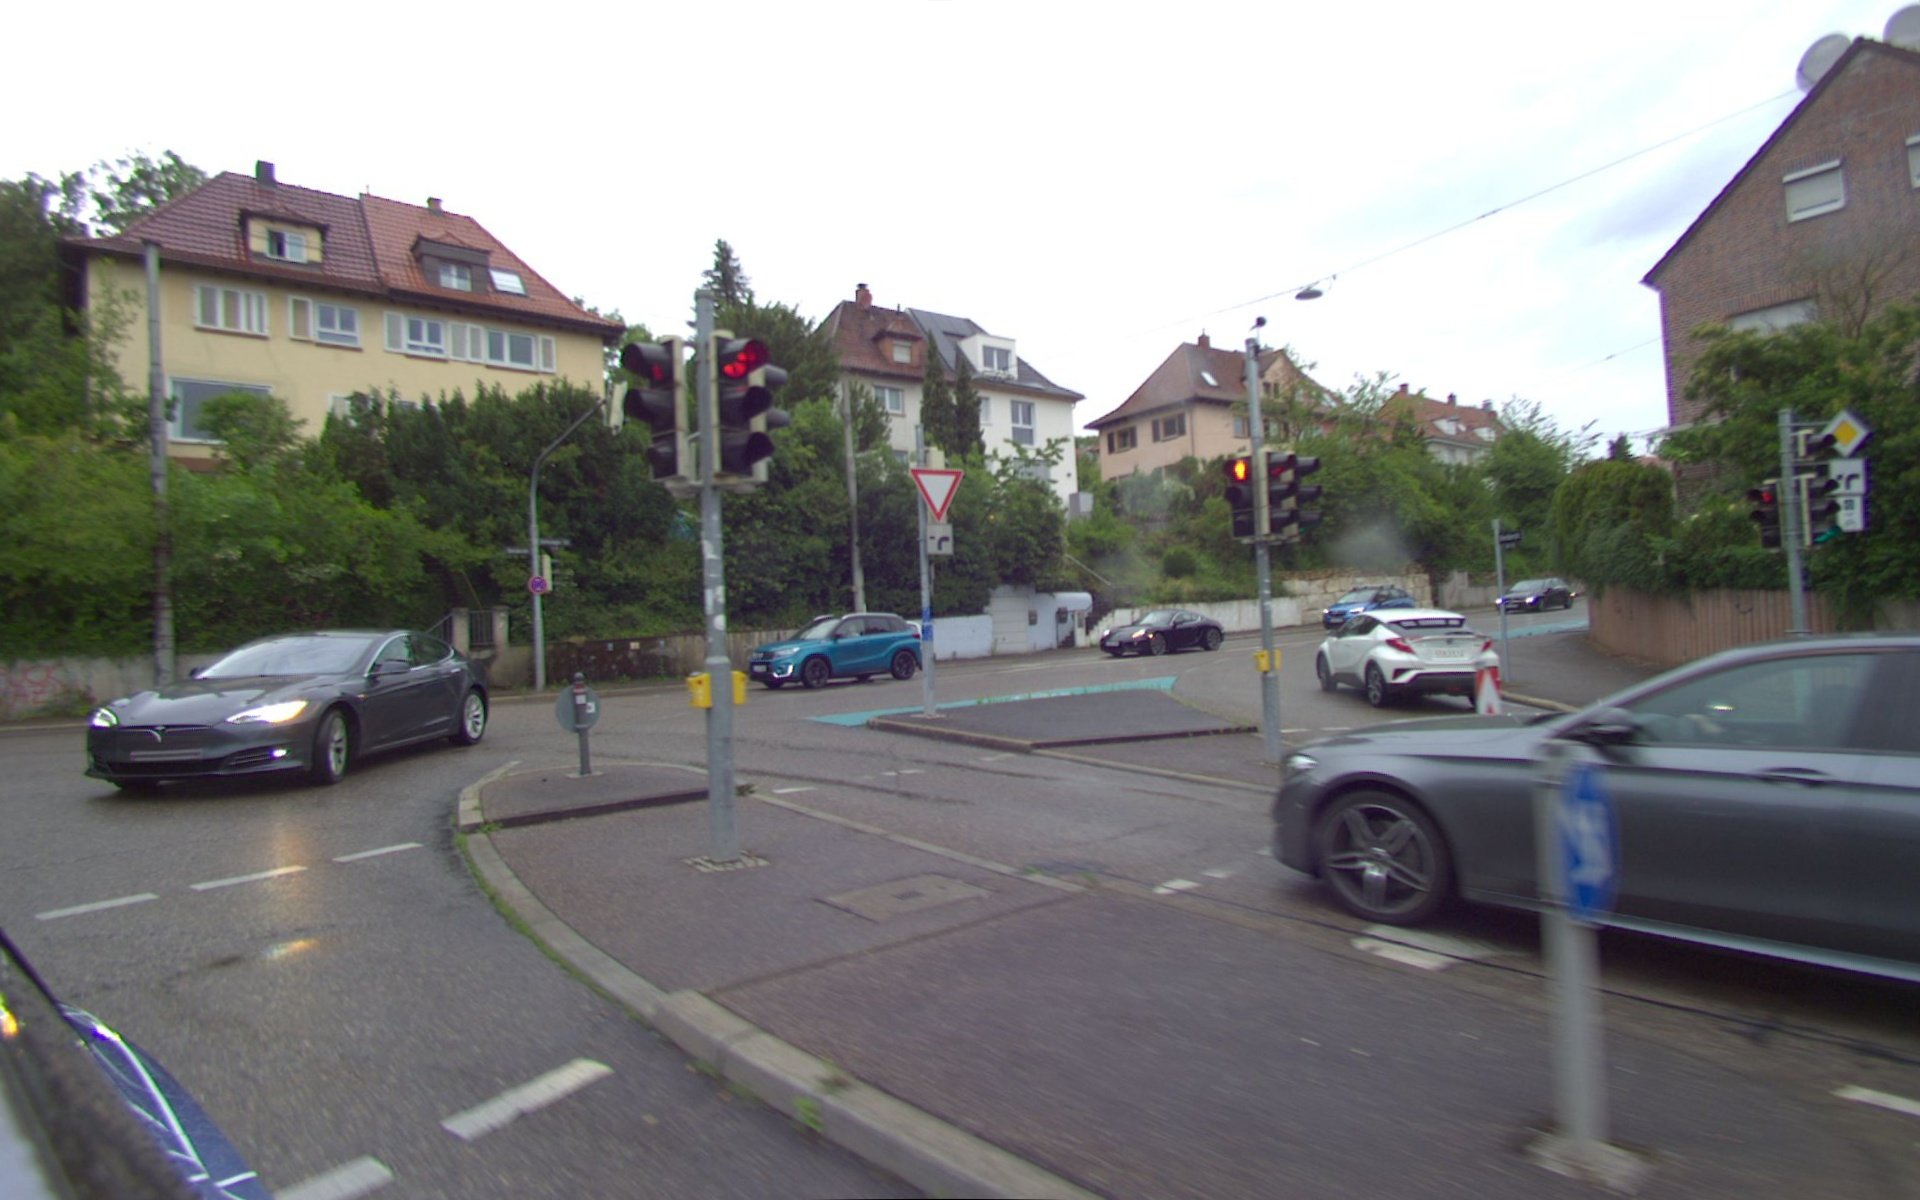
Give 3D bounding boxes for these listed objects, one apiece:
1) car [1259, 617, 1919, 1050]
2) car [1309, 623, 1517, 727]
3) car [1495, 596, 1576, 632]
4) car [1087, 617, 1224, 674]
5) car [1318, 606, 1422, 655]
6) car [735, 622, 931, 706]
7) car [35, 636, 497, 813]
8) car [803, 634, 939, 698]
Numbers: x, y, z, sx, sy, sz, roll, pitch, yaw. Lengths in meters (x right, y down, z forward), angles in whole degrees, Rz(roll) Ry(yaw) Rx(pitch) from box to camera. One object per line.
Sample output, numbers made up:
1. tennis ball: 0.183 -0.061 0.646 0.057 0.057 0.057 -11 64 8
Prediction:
1. car: 3.788 0.847 4.159 1.836 1.406 4.601 4 -2 -43
2. car: 7.341 1.145 16.909 1.690 1.478 4.257 0 -1 2
3. car: 25.330 0.592 44.496 3.977 1.471 1.762 -1 -2 -40
4. car: 5.773 1.294 29.667 3.977 1.471 1.762 -1 -2 -39
5. car: 14.967 1.095 36.878 3.977 1.662 1.763 -1 -2 -39
6. car: -2.799 1.400 22.716 3.978 1.622 1.804 -1 -3 -41
7. car: -6.614 1.102 10.375 1.810 1.403 4.324 -1 -3 -1
8. car: -2.401 1.787 27.681 3.311 1.462 1.556 -3 -2 -37
